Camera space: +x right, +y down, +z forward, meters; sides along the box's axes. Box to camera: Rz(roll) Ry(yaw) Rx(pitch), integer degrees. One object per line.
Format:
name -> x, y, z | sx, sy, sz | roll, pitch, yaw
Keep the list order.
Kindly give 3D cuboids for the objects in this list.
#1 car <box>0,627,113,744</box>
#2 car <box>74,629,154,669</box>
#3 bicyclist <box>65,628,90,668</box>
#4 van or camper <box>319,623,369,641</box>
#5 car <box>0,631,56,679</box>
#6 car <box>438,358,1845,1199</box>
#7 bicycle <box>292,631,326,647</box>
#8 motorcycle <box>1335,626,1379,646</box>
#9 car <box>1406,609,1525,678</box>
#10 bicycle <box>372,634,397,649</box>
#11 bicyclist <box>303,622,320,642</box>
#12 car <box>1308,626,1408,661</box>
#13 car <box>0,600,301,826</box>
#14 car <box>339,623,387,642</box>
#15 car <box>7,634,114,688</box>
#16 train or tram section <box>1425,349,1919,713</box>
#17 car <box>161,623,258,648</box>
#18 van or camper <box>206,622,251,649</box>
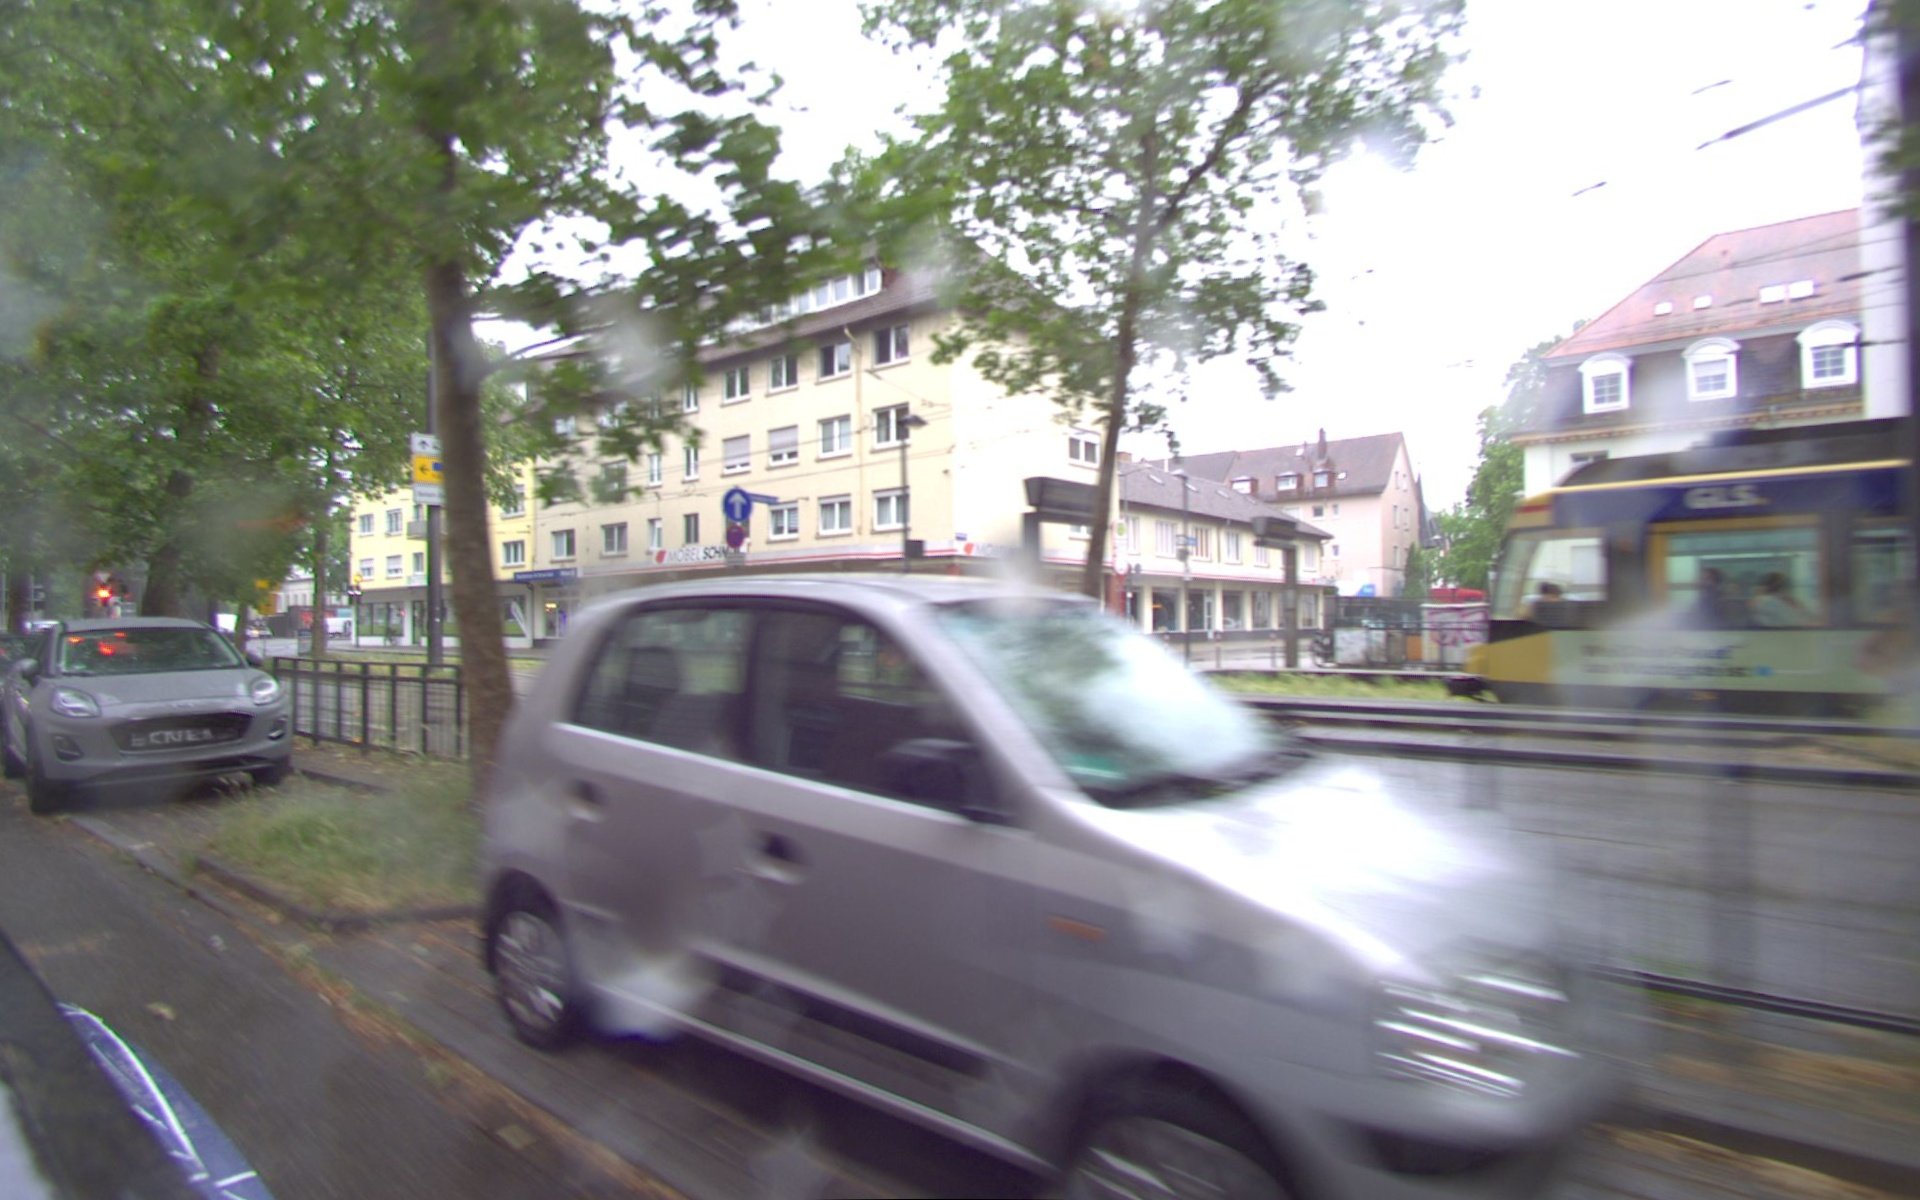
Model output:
car -> -14.379, 1.188, 15.125 | 4.609, 1.515, 1.810 | -1, 0, 39
car -> -32.554, 1.846, 38.917 | 4.127, 1.408, 1.723 | -2, -1, 40
bicyclist -> -38.458, 2.079, 44.107 | 0.889, 1.729, 0.705 | 0, -1, 41
van or camper -> -70.050, 3.648, 115.145 | 4.582, 2.091, 2.003 | 2, -2, -41
car -> -31.673, 1.796, 33.728 | 4.428, 1.491, 1.723 | -2, -1, 40
car -> 0.138, 0.595, 3.038 | 3.653, 1.694, 1.609 | -3, -1, 37
bicycle -> -48.679, 2.902, 75.686 | 0.818, 1.096, 1.973 | -2, -1, 38
motorcycle -> 14.880, 1.331, 38.010 | 0.512, 0.715, 1.680 | 0, -1, -22
car -> 12.536, 1.025, 25.004 | 1.611, 1.553, 3.635 | -2, -1, 44
bicycle -> -34.131, 2.453, 60.007 | 2.045, 0.903, 0.605 | -1, -2, 41
bicyclist -> -48.631, 2.382, 75.854 | 0.927, 1.481, 0.795 | 1, -1, 40
car -> 15.641, 1.675, 39.943 | 1.323, 1.235, 3.865 | -2, 0, -22
car -> -7.828, 0.876, 9.490 | 4.353, 1.648, 1.680 | -2, -2, 42
car -> -64.450, 3.479, 109.224 | 4.324, 2.029, 2.073 | 1, -1, -34
car -> -25.878, 1.710, 29.085 | 4.229, 1.408, 1.724 | -2, -1, 40
train or tram section -> 12.503, -0.656, 9.459 | 14.563, 3.585, 3.075 | 0, -1, 39
car -> -53.700, 2.518, 72.498 | 1.939, 1.604, 5.286 | -1, -1, 28
van or camper -> -71.850, 3.449, 99.498 | 2.144, 2.489, 5.990 | 0, -1, -21
